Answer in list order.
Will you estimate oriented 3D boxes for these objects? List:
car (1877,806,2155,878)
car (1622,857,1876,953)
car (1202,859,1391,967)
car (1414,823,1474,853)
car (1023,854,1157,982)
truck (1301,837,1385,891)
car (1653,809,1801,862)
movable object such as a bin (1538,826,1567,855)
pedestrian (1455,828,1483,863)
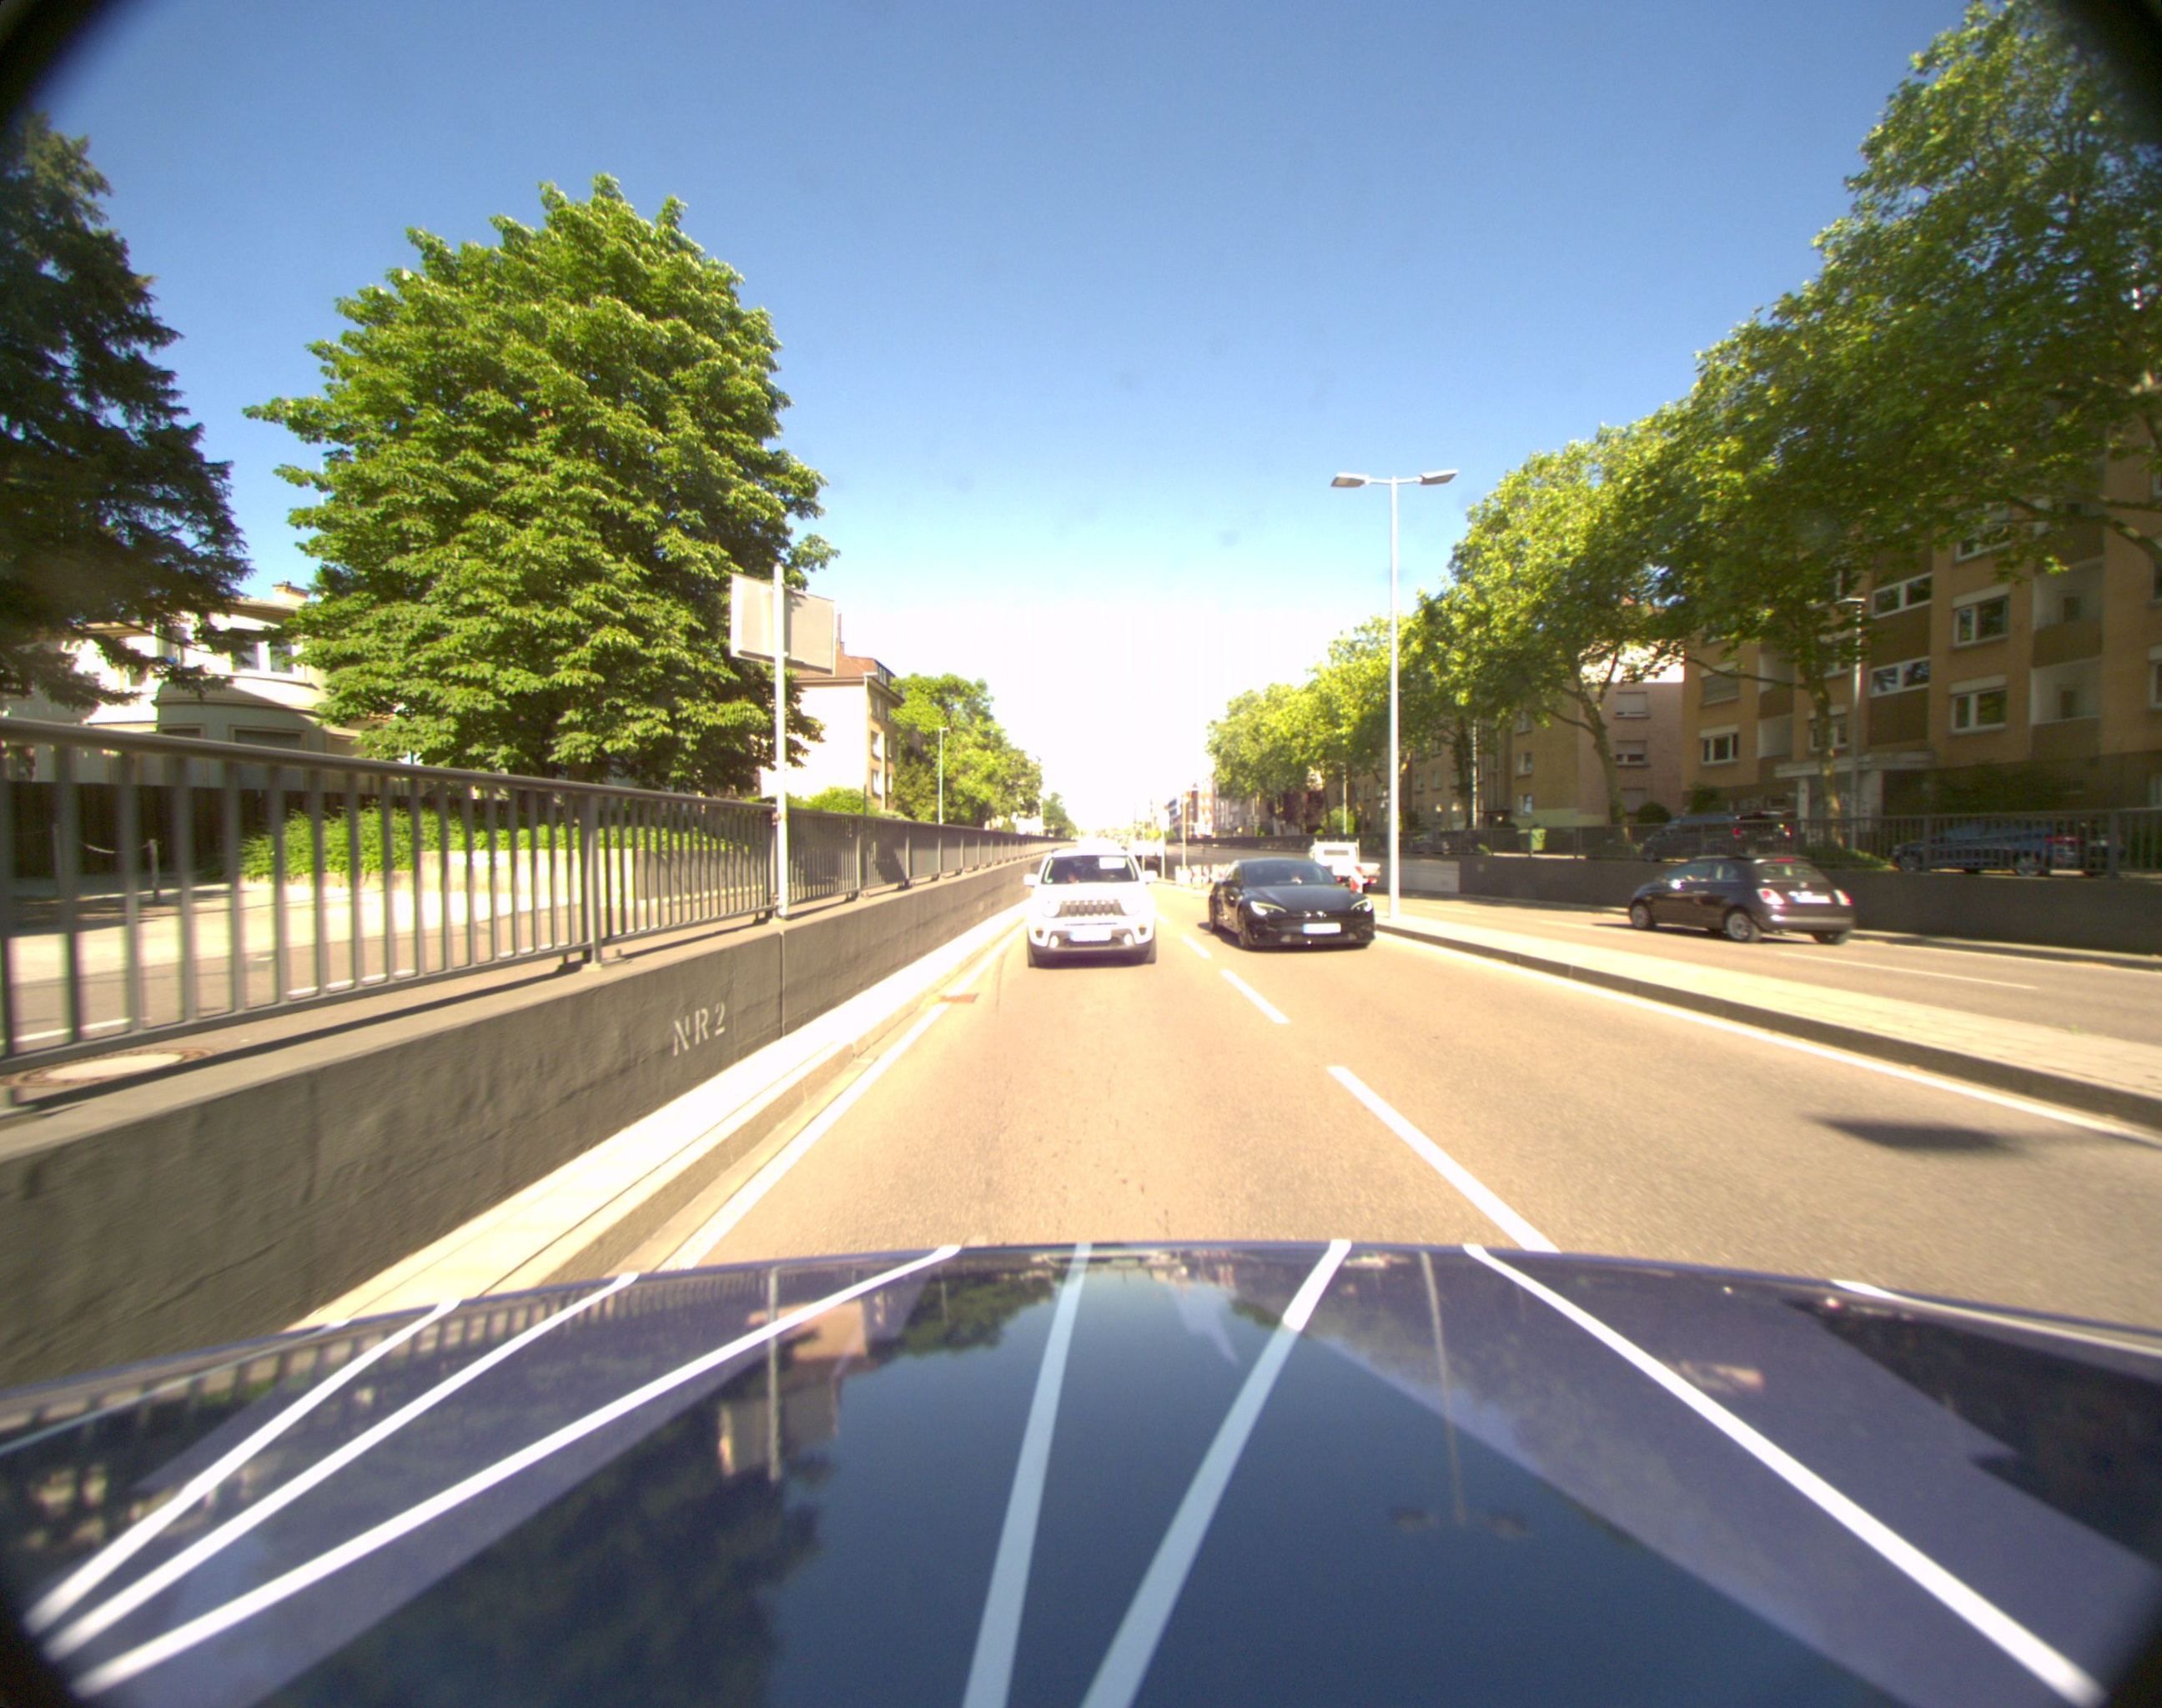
[{"bbox_3d":[22.896,-0.273,18.909,1.998,1.571,4.000,1,0,2],"label":"car"},{"bbox_3d":[11.764,0.818,13.695,1.662,1.465,3.298,1,0,1],"label":"car"},{"bbox_3d":[3.414,0.850,13.057,1.930,1.403,4.626,-3,0,1],"label":"car"},{"bbox_3d":[23.500,-0.985,49.352,1.998,1.839,4.000,1,0,1],"label":"car"},{"bbox_3d":[0.145,0.865,12.057,1.744,1.648,3.690,-2,0,1],"label":"car"},{"bbox_3d":[12.449,0.446,36.550,2.285,2.380,5.368,1,0,2],"label":"truck"},{"bbox_3d":[22.996,-0.611,27.290,1.998,1.743,4.000,-1,0,2],"label":"car"},{"bbox_3d":[26.877,-0.756,43.325,0.885,1.632,1.253,1,0,1],"label":"movable object such as a bin"},{"bbox_3d":[20.185,-0.419,39.530,0.901,1.789,1.019,1,1,-3],"label":"pedestrian"}]
